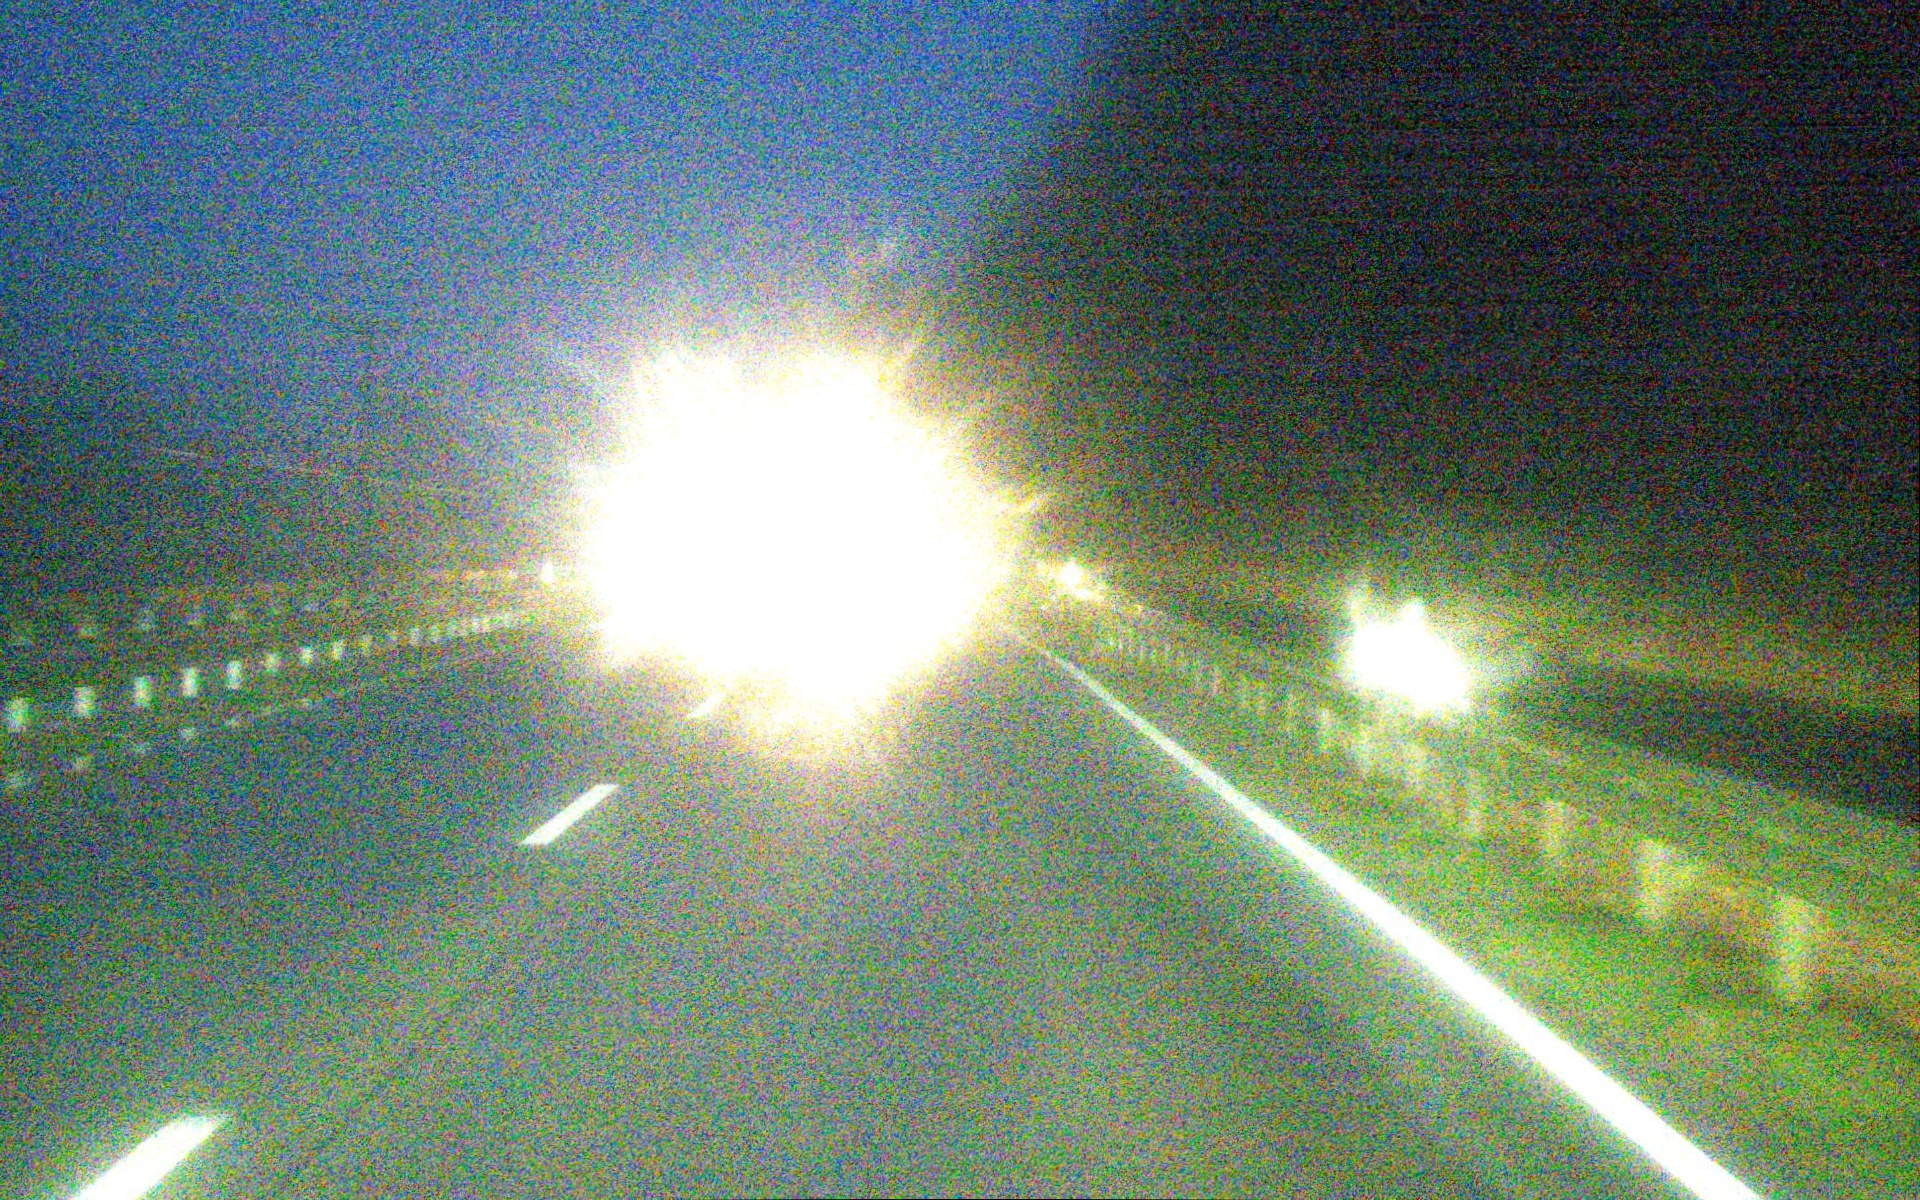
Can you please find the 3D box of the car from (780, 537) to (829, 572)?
[{"bbox_3d":[-6.719,-1.979,148.591,1.993,1.470,3.925,0,1,-1],"label":"car"}]
